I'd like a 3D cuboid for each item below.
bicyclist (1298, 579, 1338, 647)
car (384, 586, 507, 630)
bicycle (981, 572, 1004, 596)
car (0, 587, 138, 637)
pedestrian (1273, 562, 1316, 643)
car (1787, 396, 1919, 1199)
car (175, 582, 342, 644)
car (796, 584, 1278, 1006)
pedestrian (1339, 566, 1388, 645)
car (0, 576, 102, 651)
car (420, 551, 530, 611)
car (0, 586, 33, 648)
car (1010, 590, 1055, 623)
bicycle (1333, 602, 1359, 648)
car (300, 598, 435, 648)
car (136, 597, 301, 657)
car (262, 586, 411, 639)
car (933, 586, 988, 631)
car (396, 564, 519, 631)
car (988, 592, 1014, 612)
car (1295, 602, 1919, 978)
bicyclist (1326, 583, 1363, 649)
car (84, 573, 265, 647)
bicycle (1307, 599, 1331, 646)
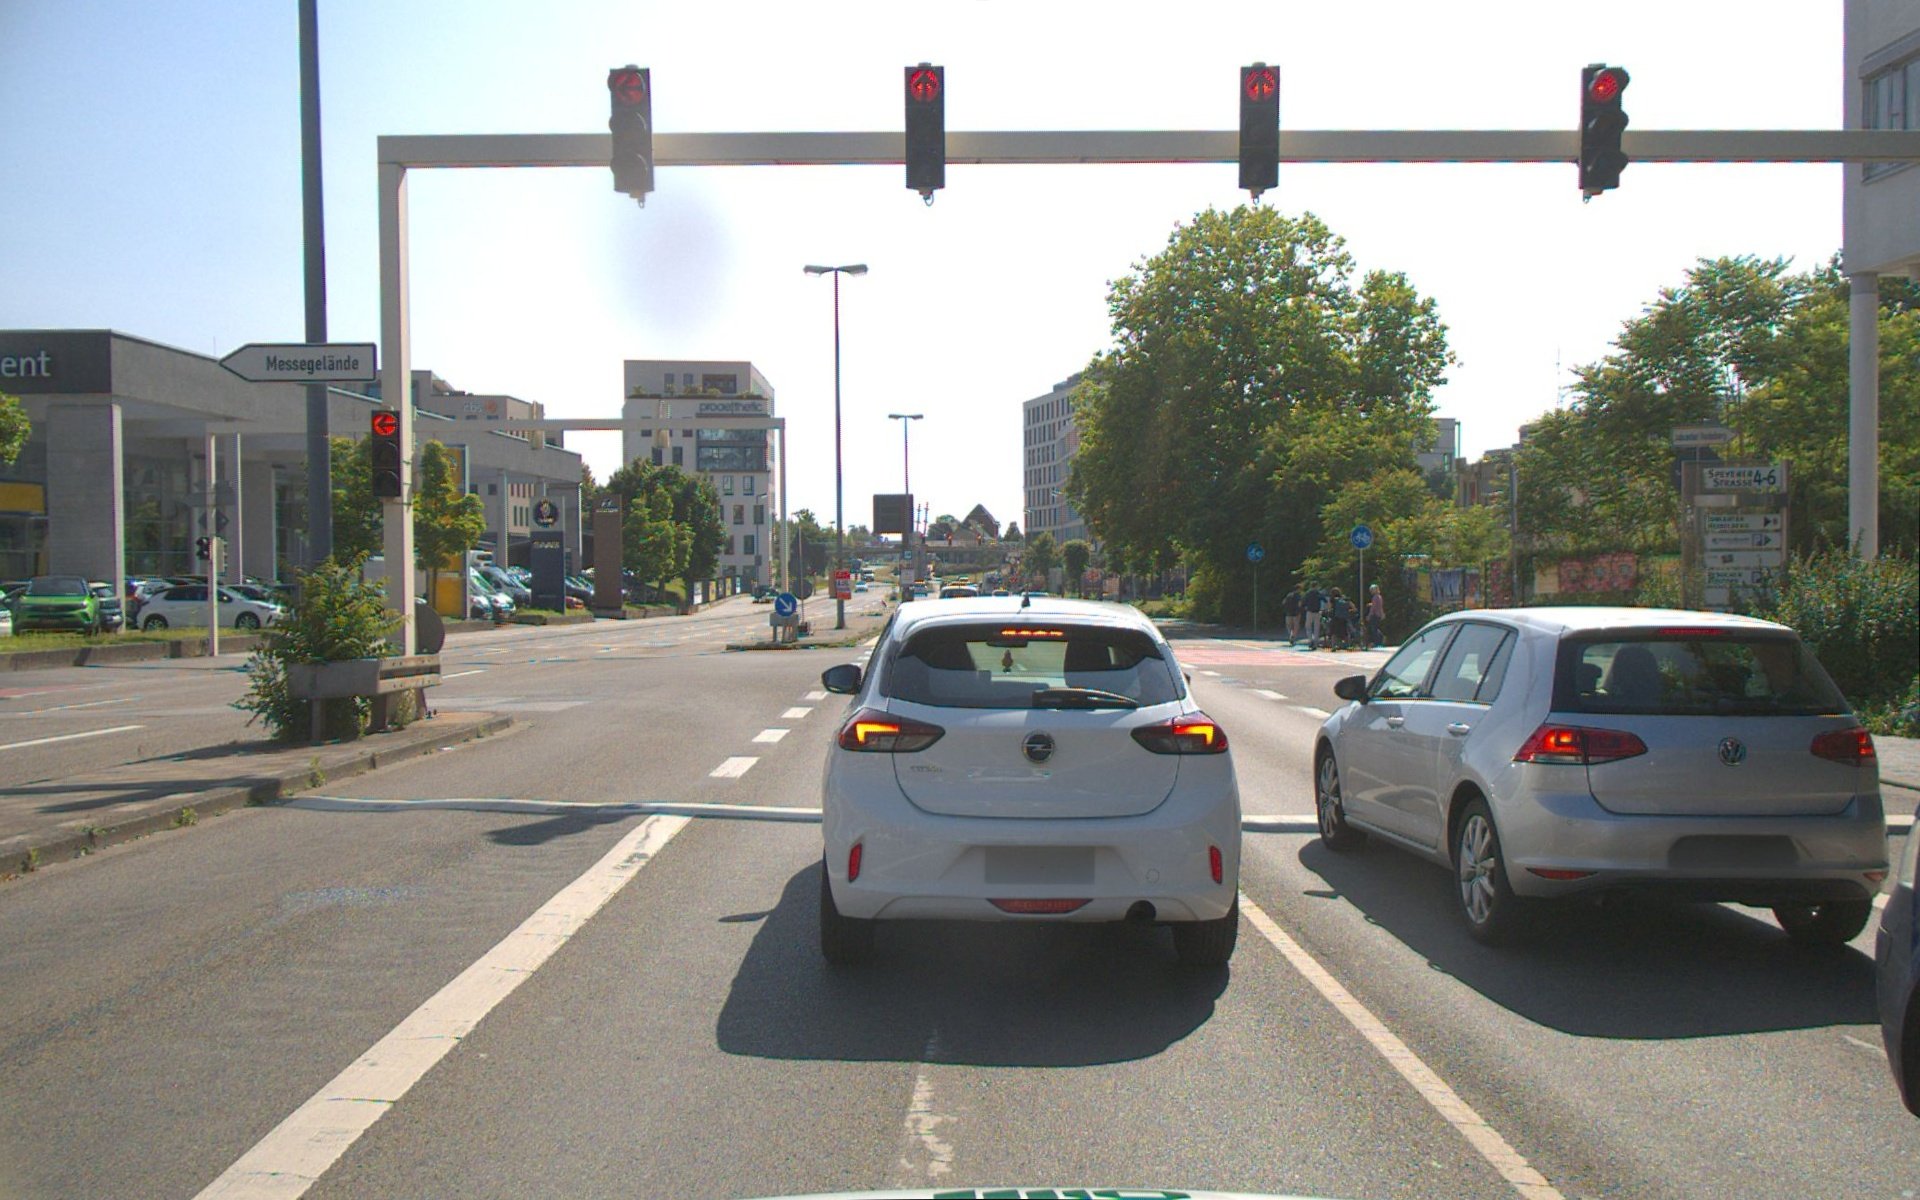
[{"bbox_3d":[9.565,0.339,44.250,0.861,1.803,0.863,0,0,-1],"label":"bicyclist"},{"bbox_3d":[-20.706,0.322,66.675,4.263,1.726,2.002,-1,0,9],"label":"car"},{"bbox_3d":[3.057,-1.528,155.577,1.953,2.195,3.999,0,0,-1],"label":"bicycle"},{"bbox_3d":[-26.153,0.357,47.284,4.276,1.290,1.996,-2,-1,-9],"label":"car"},{"bbox_3d":[9.543,0.061,47.229,1.006,2.277,1.038,0,0,-1],"label":"pedestrian"},{"bbox_3d":[3.308,0.491,2.150,1.953,1.982,4.890,0,0,-1],"label":"car"},{"bbox_3d":[-21.300,0.382,50.364,4.211,1.796,1.999,-1,0,-3],"label":"car"},{"bbox_3d":[0.251,0.694,7.982,1.743,1.520,3.999,0,0,-1],"label":"car"},{"bbox_3d":[10.541,0.137,43.219,1.006,2.049,1.038,0,0,-1],"label":"pedestrian"},{"bbox_3d":[-22.467,0.339,40.693,1.887,1.764,3.250,-1,-1,-37],"label":"car"},{"bbox_3d":[-21.796,-0.839,74.453,4.265,2.646,2.001,0,0,4],"label":"car"},{"bbox_3d":[-27.449,0.468,44.142,4.276,1.618,1.996,-1,0,-9],"label":"car"},{"bbox_3d":[3.238,0.277,74.231,1.769,1.410,3.999,1,0,-1],"label":"car"},{"bbox_3d":[9.870,0.627,42.353,0.366,1.167,1.034,1,-1,-3],"label":"bicycle"},{"bbox_3d":[-21.763,0.827,60.898,4.270,1.726,1.999,-1,0,-3],"label":"car"},{"bbox_3d":[-21.341,0.754,47.730,3.912,1.627,1.997,-1,0,-8],"label":"car"},{"bbox_3d":[-20.883,0.417,55.509,4.270,1.726,1.999,0,0,-3],"label":"car"},{"bbox_3d":[-0.011,0.321,56.888,1.769,1.410,3.999,2,-1,-1],"label":"car"},{"bbox_3d":[-20.965,-0.100,69.152,4.401,2.731,2.130,0,0,8],"label":"car"},{"bbox_3d":[3.140,0.161,127.099,1.769,1.410,3.999,1,0,-1],"label":"car"},{"bbox_3d":[3.103,0.745,8.519,1.771,1.454,3.998,0,0,-3],"label":"car"},{"bbox_3d":[9.850,0.392,42.389,0.675,1.672,0.775,0,0,-9],"label":"bicyclist"},{"bbox_3d":[-20.628,0.241,43.582,3.793,1.870,1.999,-1,0,-4],"label":"car"},{"bbox_3d":[9.586,0.599,44.208,0.365,1.238,1.153,1,0,-1],"label":"bicycle"}]
